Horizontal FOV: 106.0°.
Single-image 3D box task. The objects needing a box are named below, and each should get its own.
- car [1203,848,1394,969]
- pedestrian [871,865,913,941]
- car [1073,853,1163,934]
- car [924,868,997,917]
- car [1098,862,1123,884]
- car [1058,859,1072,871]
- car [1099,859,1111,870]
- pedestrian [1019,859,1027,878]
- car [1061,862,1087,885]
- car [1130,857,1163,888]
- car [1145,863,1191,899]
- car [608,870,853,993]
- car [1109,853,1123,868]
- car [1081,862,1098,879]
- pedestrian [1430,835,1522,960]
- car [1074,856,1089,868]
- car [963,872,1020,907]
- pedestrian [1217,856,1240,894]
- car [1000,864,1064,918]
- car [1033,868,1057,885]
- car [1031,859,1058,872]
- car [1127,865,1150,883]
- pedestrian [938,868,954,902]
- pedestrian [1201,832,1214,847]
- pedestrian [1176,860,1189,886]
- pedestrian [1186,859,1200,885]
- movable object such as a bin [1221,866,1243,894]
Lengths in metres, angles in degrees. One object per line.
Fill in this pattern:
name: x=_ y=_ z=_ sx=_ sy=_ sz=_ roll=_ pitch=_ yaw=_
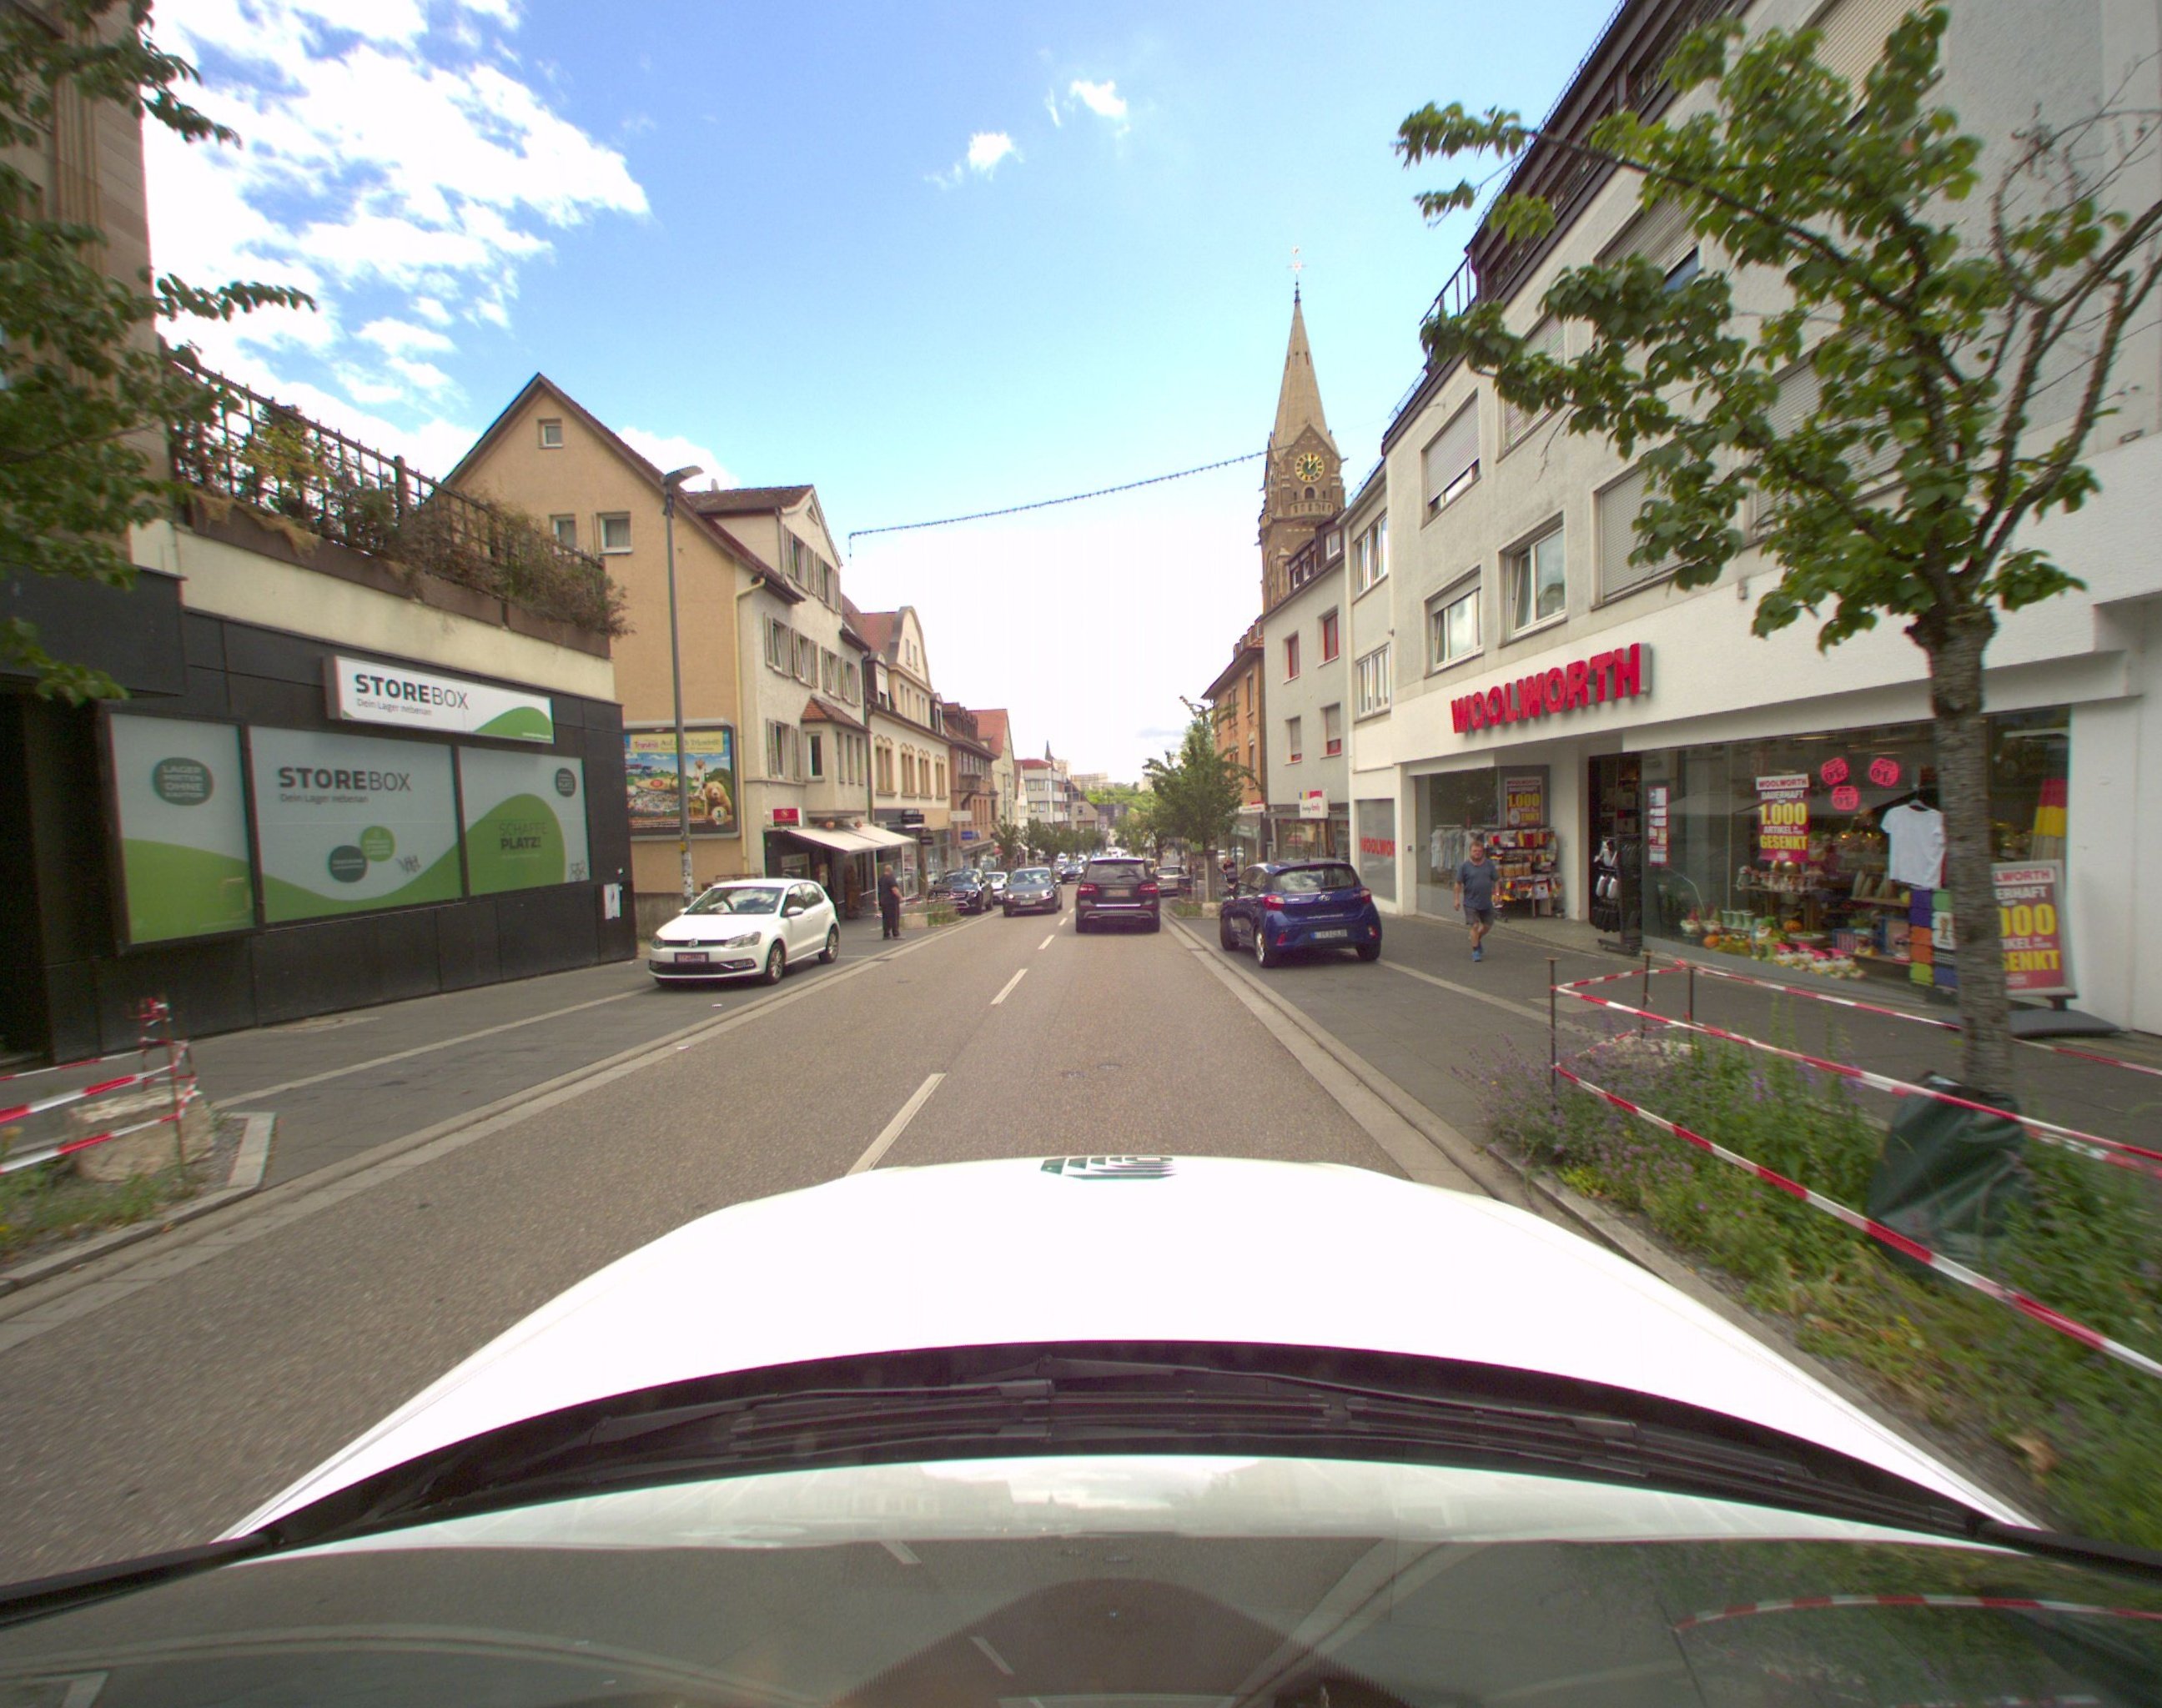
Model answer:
car: x=3.214 y=0.786 z=12.856 sx=1.744 sy=1.498 sz=3.795 roll=-4 pitch=-2 yaw=-3
pedestrian: x=-4.323 y=1.103 z=18.703 sx=0.735 sy=1.672 sz=0.862 roll=-2 pitch=-1 yaw=-1
car: x=0.883 y=0.863 z=19.691 sx=1.936 sy=1.740 sz=4.181 roll=0 pitch=0 yaw=2
car: x=-4.330 y=1.336 z=29.889 sx=1.920 sy=1.621 sz=4.639 roll=0 pitch=-1 yaw=1
car: x=2.353 y=1.475 z=64.482 sx=1.919 sy=1.628 sz=4.264 roll=0 pitch=0 yaw=2
car: x=-2.359 y=1.584 z=119.001 sx=1.920 sy=1.628 sz=4.414 roll=0 pitch=0 yaw=0
car: x=3.648 y=1.616 z=123.323 sx=1.806 sy=1.508 sz=4.000 roll=-2 pitch=-1 yaw=1
pedestrian: x=-5.130 y=1.285 z=71.850 sx=0.639 sy=1.667 sz=0.720 roll=-1 pitch=-1 yaw=1
car: x=-0.577 y=1.593 z=68.103 sx=1.985 sy=1.718 sz=4.447 roll=-2 pitch=0 yaw=1
car: x=4.529 y=1.258 z=57.186 sx=1.931 sy=1.891 sz=4.708 roll=-4 pitch=0 yaw=1
car: x=4.180 y=1.289 z=39.528 sx=1.742 sy=1.465 sz=4.075 roll=-5 pitch=0 yaw=1
car: x=-5.160 y=1.050 z=12.740 sx=1.920 sy=1.511 sz=4.262 roll=0 pitch=0 yaw=1
car: x=6.173 y=1.124 z=143.408 sx=2.163 sy=2.364 sz=4.630 roll=-4 pitch=-1 yaw=6
car: x=0.984 y=1.803 z=89.491 sx=1.758 sy=1.617 sz=4.033 roll=-3 pitch=0 yaw=1
pedestrian: x=5.209 y=0.558 z=10.795 sx=0.754 sy=1.561 sz=0.817 roll=-2 pitch=0 yaw=-1
car: x=0.058 y=1.174 z=115.974 sx=1.919 sy=1.628 sz=4.264 roll=0 pitch=0 yaw=2
car: x=-4.057 y=1.613 z=37.637 sx=1.919 sy=1.430 sz=4.265 roll=-1 pitch=-1 yaw=3
pedestrian: x=6.518 y=0.930 z=35.970 sx=0.732 sy=1.585 sz=1.000 roll=-4 pitch=-1 yaw=1
car: x=-1.621 y=1.224 z=28.074 sx=1.813 sy=1.618 sz=4.135 roll=-4 pitch=-1 yaw=0
car: x=-3.319 y=2.057 z=75.019 sx=1.920 sy=1.496 sz=4.262 roll=0 pitch=0 yaw=1
car: x=-5.612 y=1.734 z=126.422 sx=3.977 sy=1.750 sz=1.998 roll=-4 pitch=-1 yaw=-2
car: x=5.253 y=1.816 z=75.165 sx=1.930 sy=1.457 sz=4.710 roll=-2 pitch=0 yaw=3
pedestrian: x=-6.492 y=1.465 z=39.221 sx=0.545 sy=1.576 sz=0.863 roll=-3 pitch=0 yaw=1
pedestrian: x=11.427 y=-1.298 z=73.663 sx=0.986 sy=1.231 sz=0.984 roll=-2 pitch=-1 yaw=3
pedestrian: x=6.475 y=1.208 z=52.088 sx=0.670 sy=1.632 sz=0.669 roll=-4 pitch=-1 yaw=-1
pedestrian: x=7.181 y=1.138 z=52.226 sx=0.670 sy=1.632 sz=0.669 roll=-4 pitch=-1 yaw=-1
movable object such as a bin: x=6.509 y=1.099 z=35.099 sx=0.719 sy=1.158 sz=0.907 roll=-4 pitch=-1 yaw=1
